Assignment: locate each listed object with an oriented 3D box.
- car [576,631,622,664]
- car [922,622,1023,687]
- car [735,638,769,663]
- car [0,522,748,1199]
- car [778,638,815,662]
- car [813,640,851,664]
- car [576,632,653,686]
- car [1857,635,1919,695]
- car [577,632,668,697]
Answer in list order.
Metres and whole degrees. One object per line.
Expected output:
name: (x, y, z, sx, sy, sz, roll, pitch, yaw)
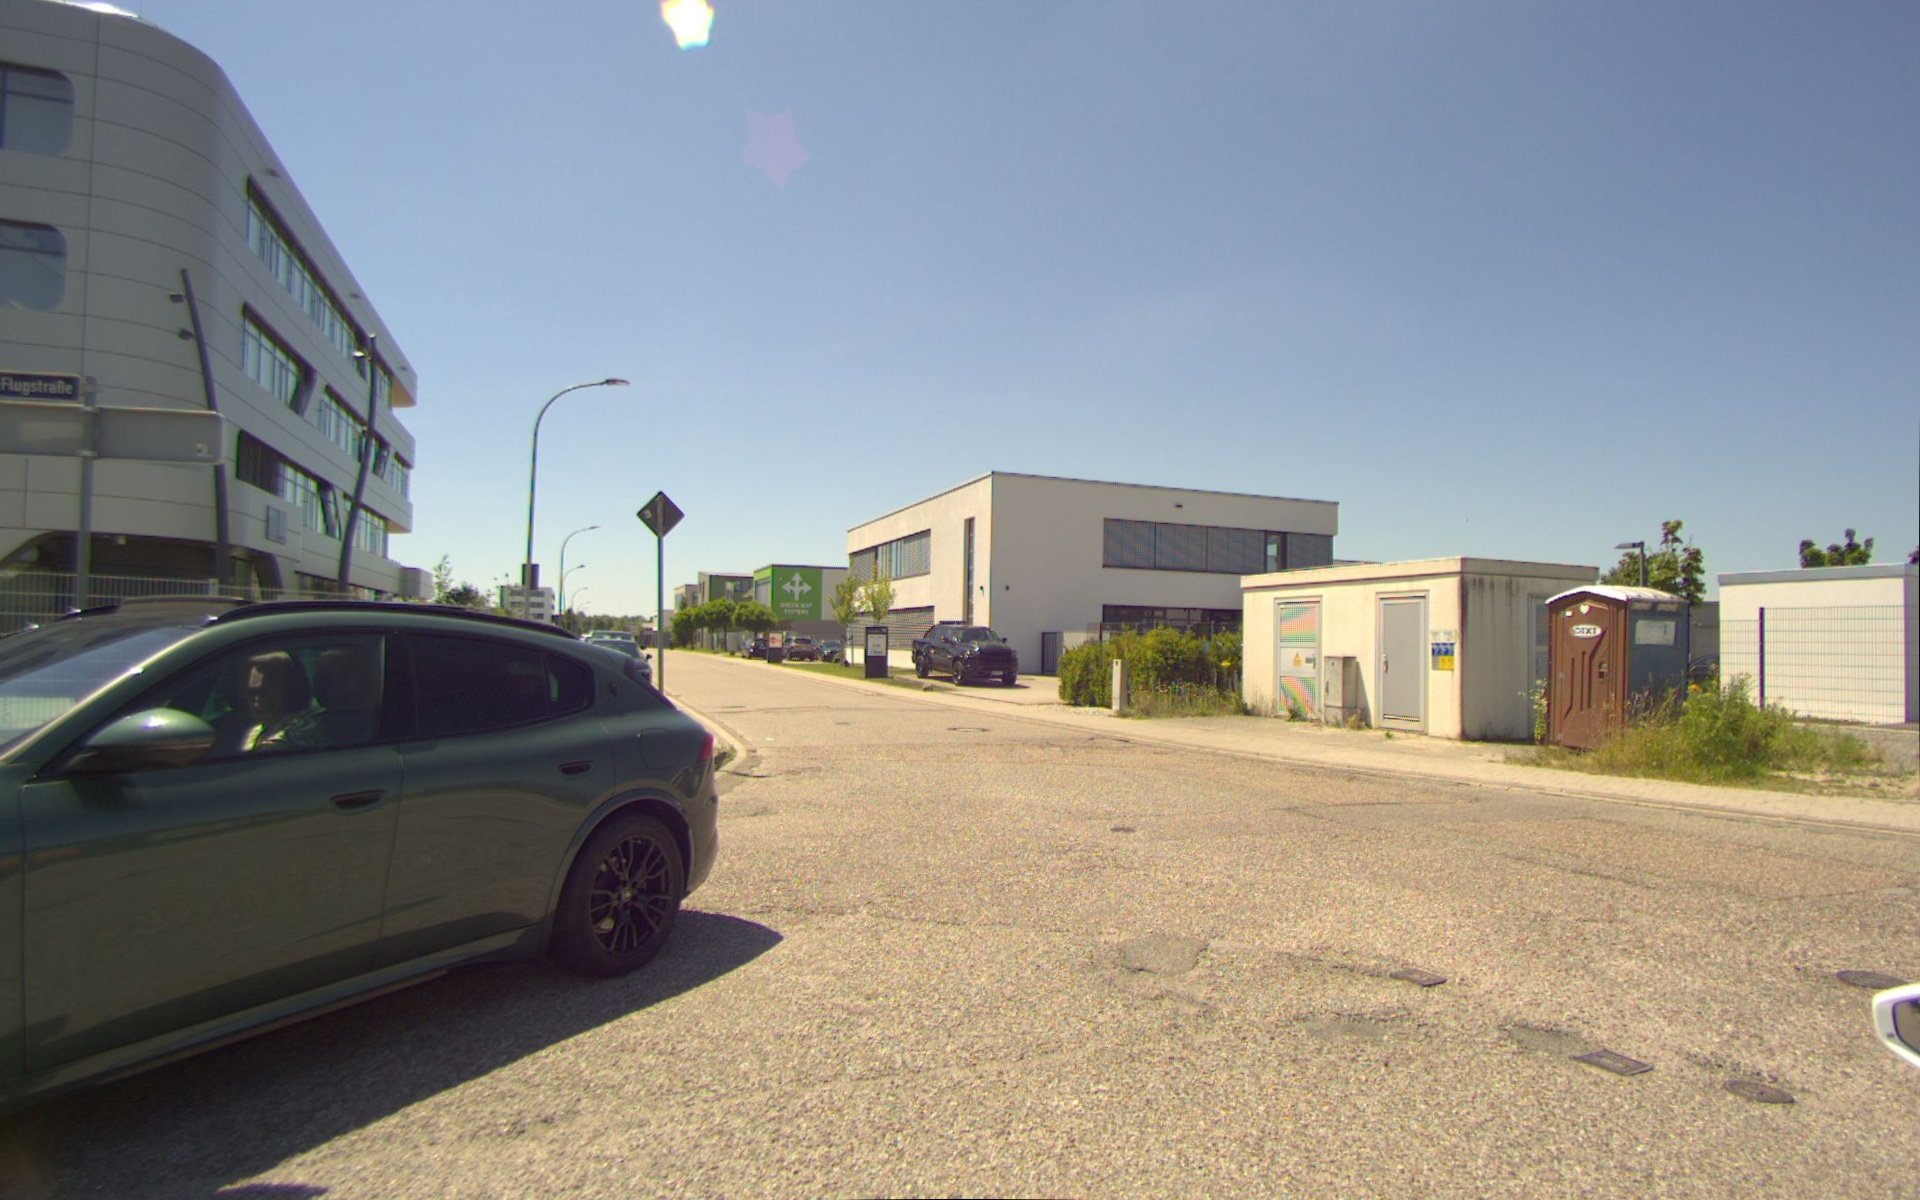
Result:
car: (-18.933, 2.482, 52.591, 1.972, 1.560, 3.978, 5, -4, -23)
car: (0.367, 1.826, 34.044, 1.972, 2.040, 3.978, 2, -3, -23)
car: (-13.992, 3.409, 67.517, 1.615, 1.617, 3.982, 2, -3, -20)
car: (-2.944, 0.753, 3.801, 1.920, 1.729, 4.511, -2, -4, 24)
car: (-11.169, 3.421, 68.486, 1.548, 1.572, 3.978, 2, -3, -23)
car: (-8.785, 3.555, 68.861, 1.548, 1.572, 3.978, 2, -3, -23)
car: (-11.303, 1.907, 32.725, 1.972, 1.560, 3.978, 5, -4, -23)
car: (33.471, 2.226, 34.161, 1.970, 2.040, 3.983, 2, -3, -20)
car: (-9.287, 1.725, 27.453, 1.972, 1.560, 3.978, 5, -4, -23)
